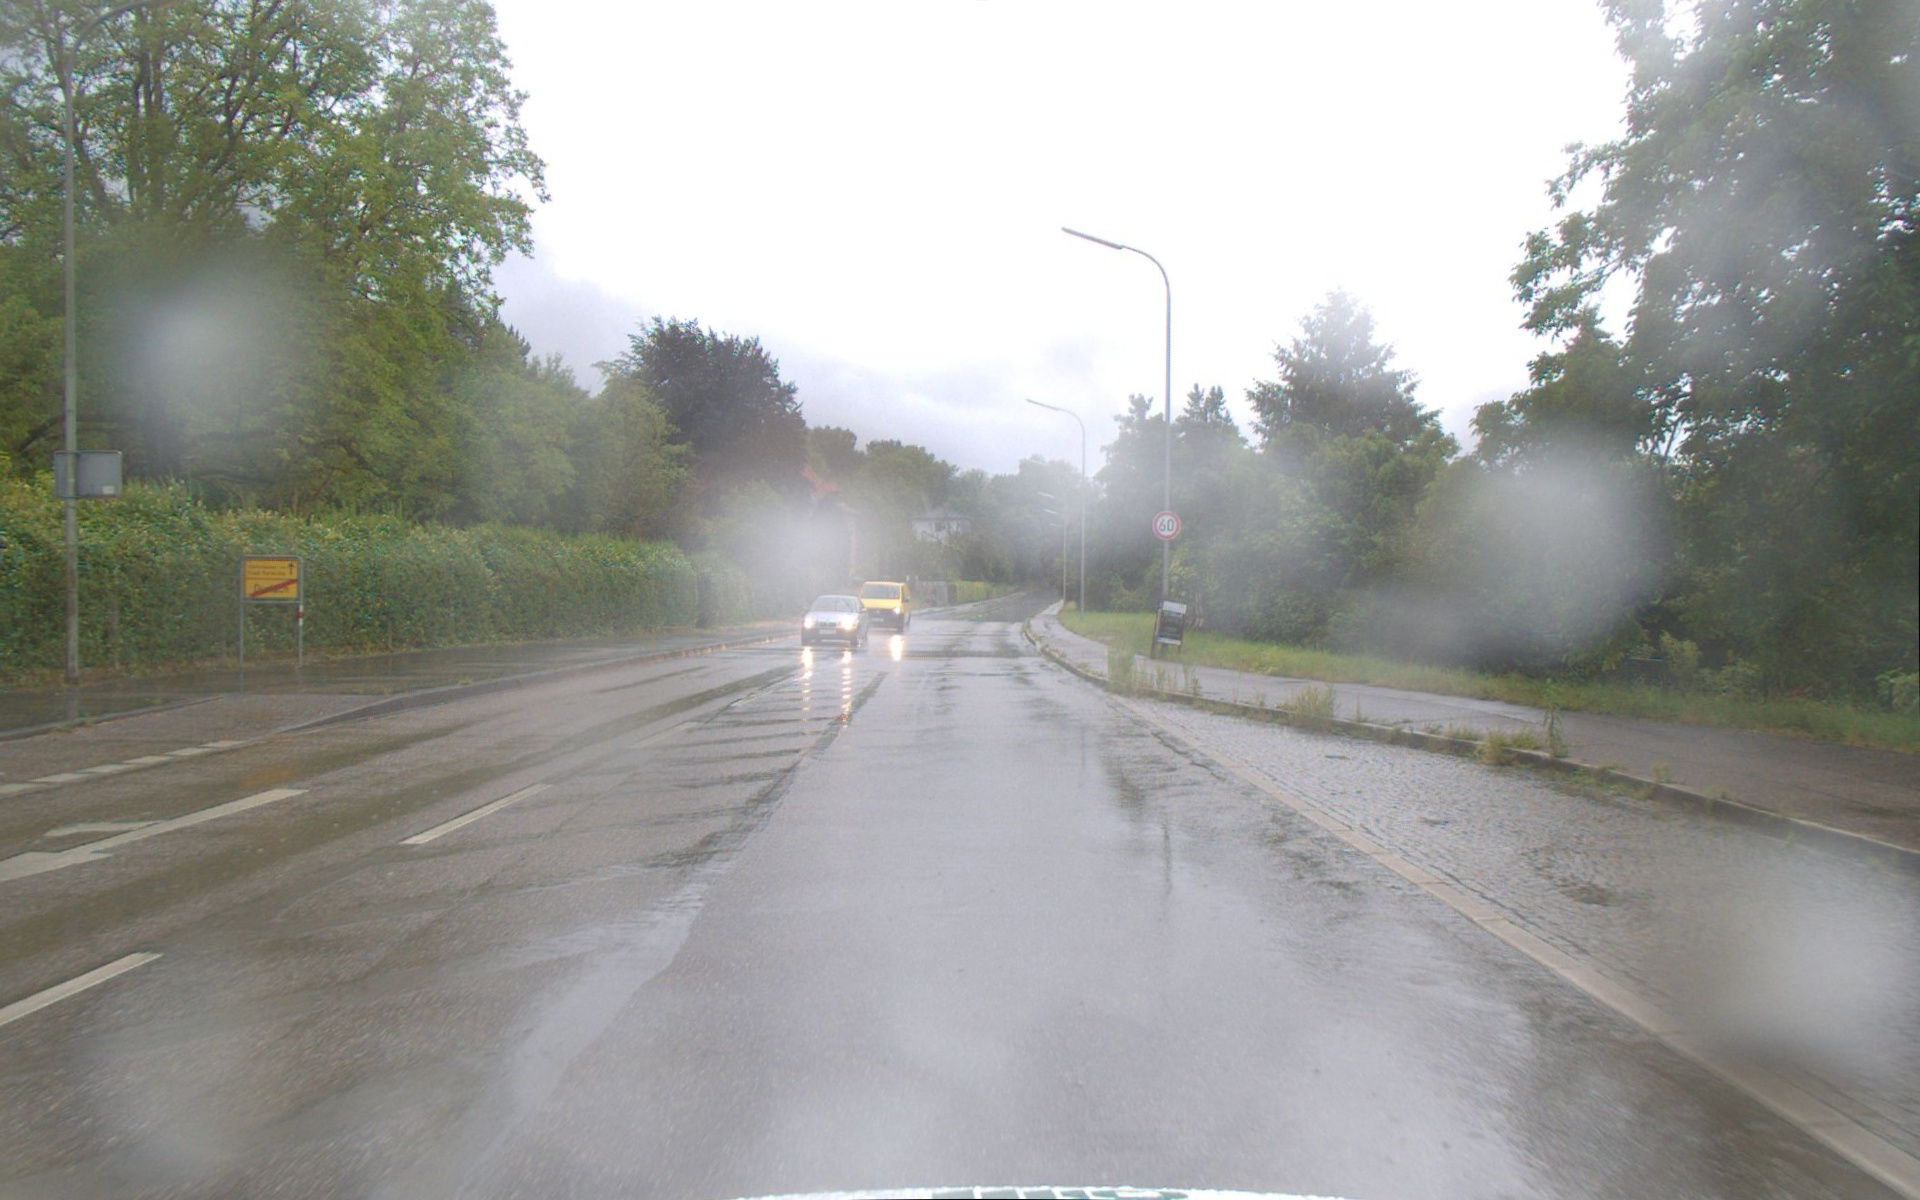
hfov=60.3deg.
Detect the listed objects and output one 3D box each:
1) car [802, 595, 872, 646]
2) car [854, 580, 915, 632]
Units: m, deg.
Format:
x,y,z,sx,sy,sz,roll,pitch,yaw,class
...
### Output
x,y,z,sx,sy,sz,roll,pitch,yaw,class
-3.501,0.557,47.633,1.666,1.373,3.906,1,0,1,car
-2.908,0.217,64.613,1.897,1.904,5.037,1,0,2,car
